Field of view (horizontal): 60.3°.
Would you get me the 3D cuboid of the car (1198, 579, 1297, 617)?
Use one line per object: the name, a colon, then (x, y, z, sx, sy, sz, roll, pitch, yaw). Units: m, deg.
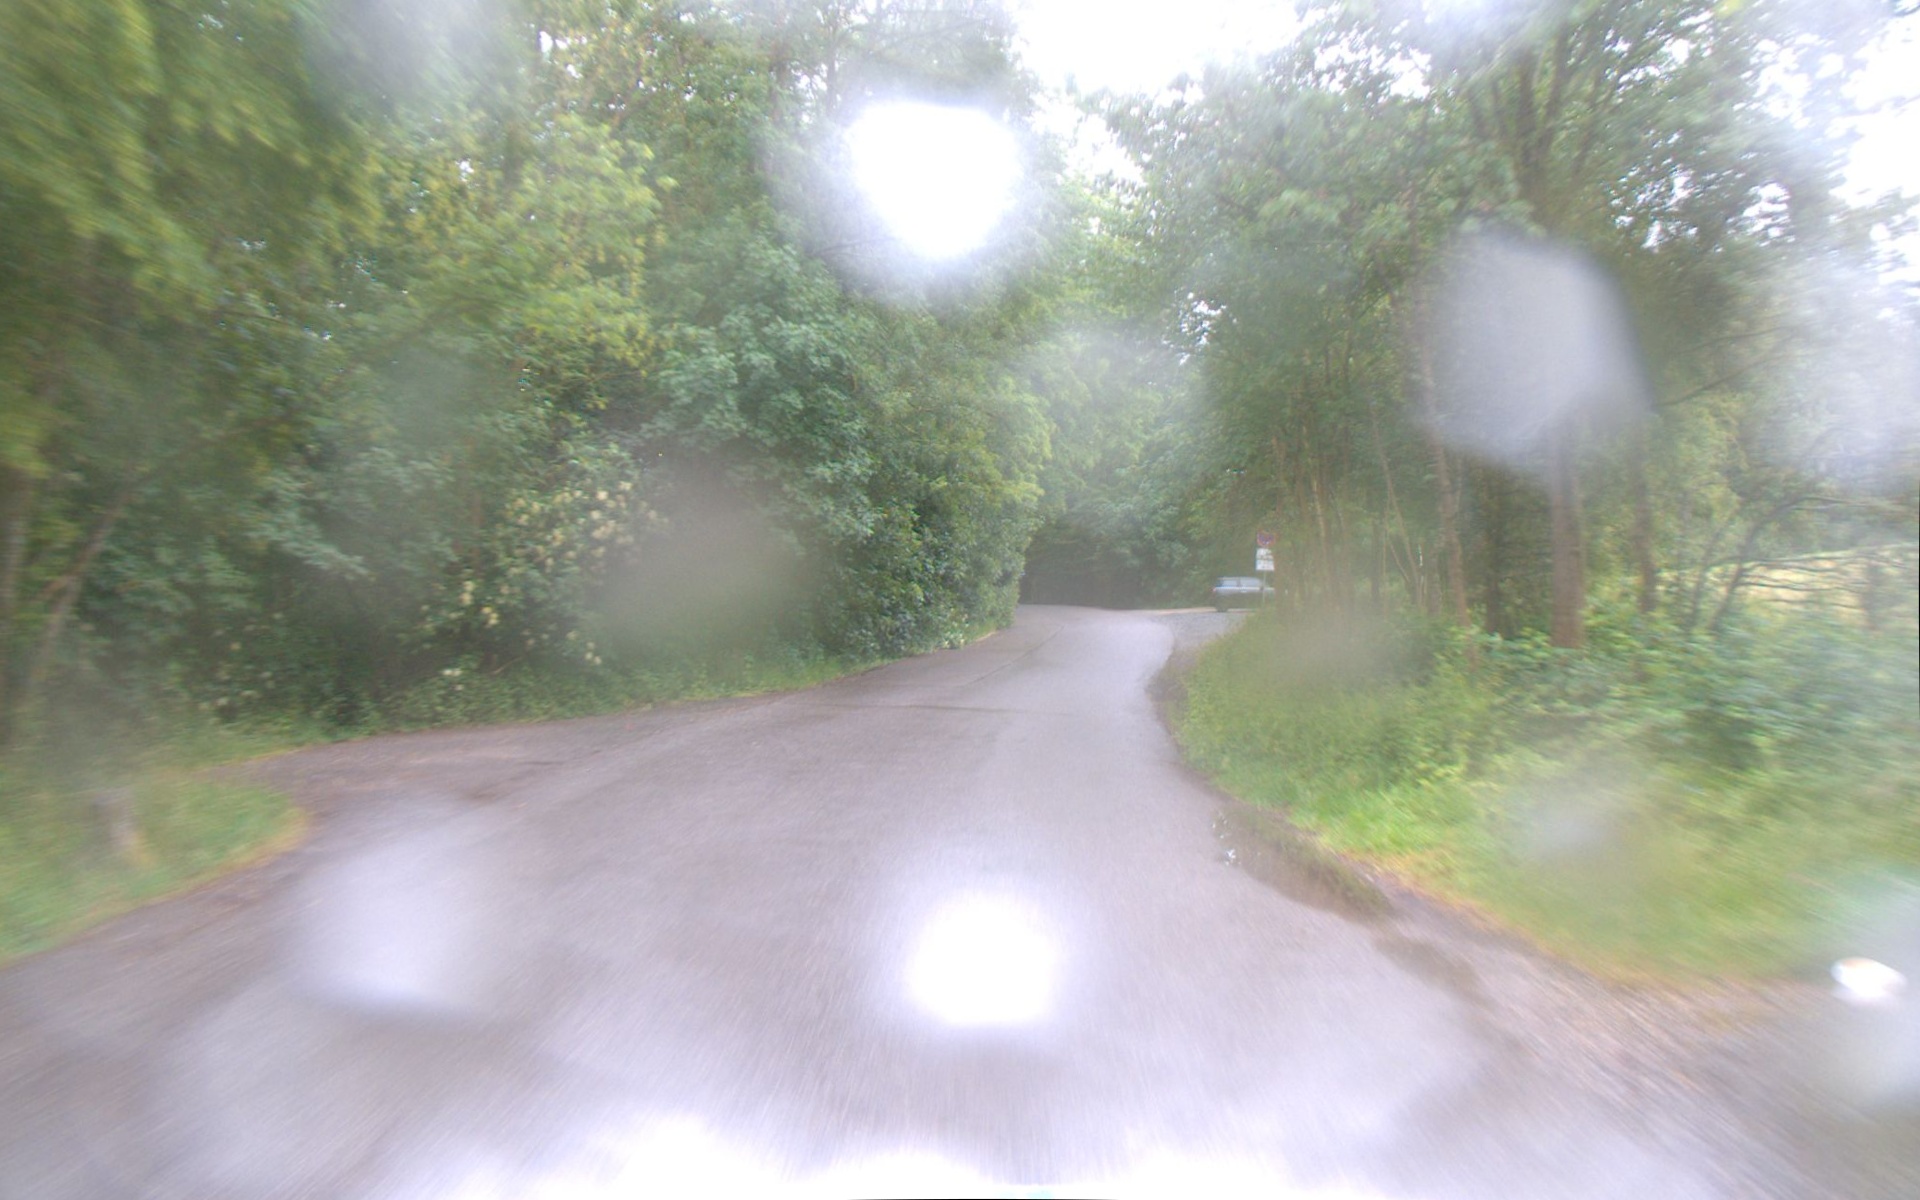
car: (11.874, -0.092, 68.518, 3.902, 1.415, 2.002, -2, 1, 7)
